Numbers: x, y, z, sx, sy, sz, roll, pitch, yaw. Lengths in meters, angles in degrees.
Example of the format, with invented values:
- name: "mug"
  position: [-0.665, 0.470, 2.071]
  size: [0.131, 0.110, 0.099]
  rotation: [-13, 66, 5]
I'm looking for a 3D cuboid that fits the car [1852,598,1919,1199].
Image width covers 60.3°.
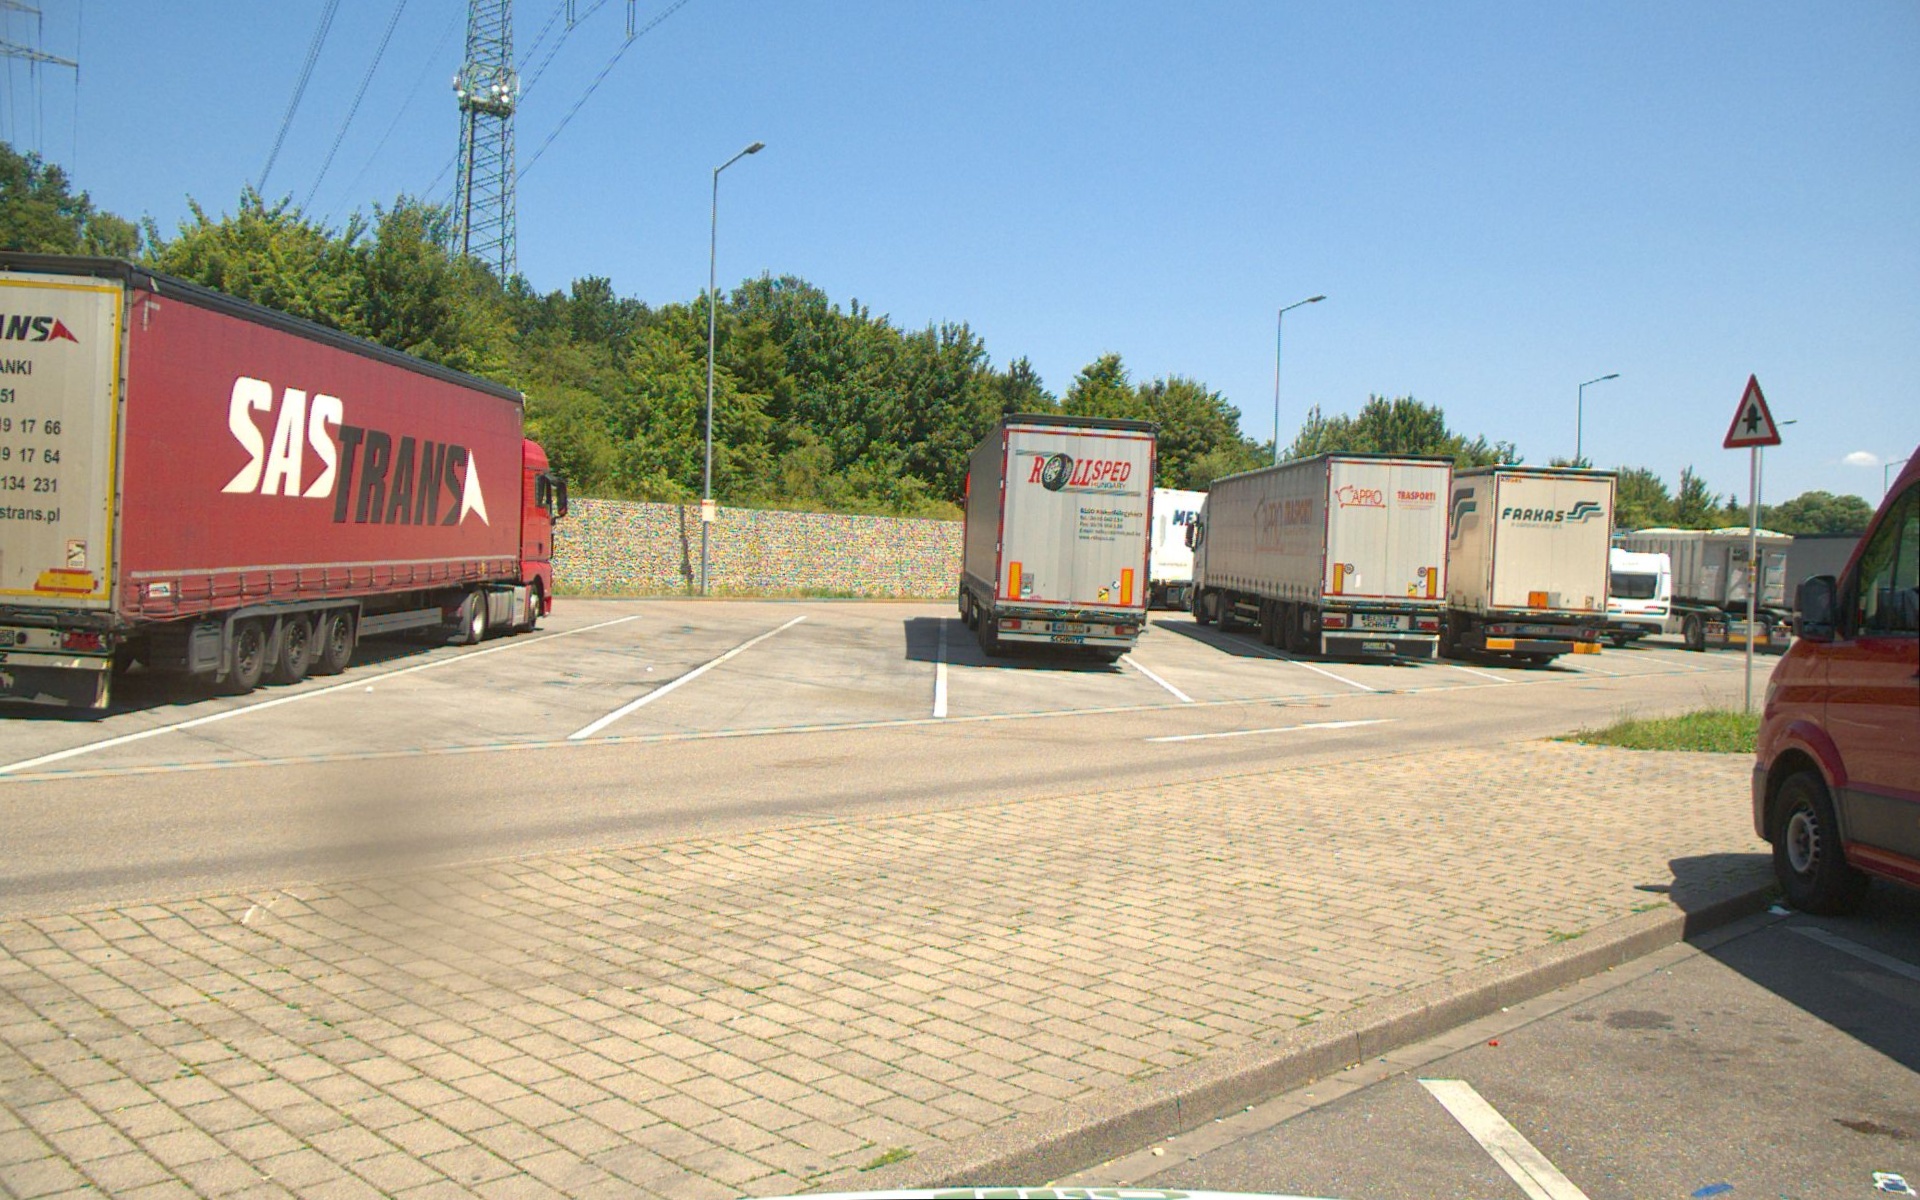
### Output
- name: "car"
  position: [2.526, 0.800, 1.077]
  size: [1.584, 1.509, 3.762]
  rotation: [1, 1, -6]

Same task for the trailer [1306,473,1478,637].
- name: "trailer"
  position: [11.744, -1.283, 45.607]
  size: [2.808, 4.107, 6.570]
  rotation: [2, 2, -1]

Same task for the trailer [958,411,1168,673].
- name: "trailer"
  position: [1.644, -1.234, 33.635]
  size: [2.809, 4.107, 14.238]
  rotation: [2, 2, -2]

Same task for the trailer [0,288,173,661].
- name: "trailer"
  position: [-12.559, -1.405, 17.129]
  size: [2.756, 4.341, 12.940]
  rotation: [2, 2, -1]

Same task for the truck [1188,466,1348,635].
- name: "truck"
  position: [8.158, -1.377, 44.700]
  size: [2.808, 4.107, 6.956]
  rotation: [2, 2, -1]

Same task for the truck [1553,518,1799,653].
- name: "truck"
  position: [21.740, -0.636, 51.206]
  size: [2.437, 3.630, 11.423]
  rotation: [2, 2, -1]

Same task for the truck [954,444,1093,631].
- name: "truck"
  position: [1.415, -1.560, 40.716]
  size: [2.809, 4.107, 7.026]
  rotation: [2, 2, -2]

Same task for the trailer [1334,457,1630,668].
- name: "trailer"
  position: [11.813, -1.014, 39.186]
  size: [2.808, 4.107, 12.438]
  rotation: [2, 2, -1]

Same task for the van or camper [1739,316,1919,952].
- name: "van or camper"
  position: [4.976, 0.179, 5.524]
  size: [1.954, 2.700, 6.482]
  rotation: [1, 1, 3]

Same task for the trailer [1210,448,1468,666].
- name: "trailer"
  position: [8.236, -1.081, 38.069]
  size: [2.808, 4.107, 12.438]
  rotation: [2, 2, -1]

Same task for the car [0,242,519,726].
- name: "car"
  position: [-8.688, -1.279, 20.927]
  size: [2.641, 4.184, 12.935]
  rotation: [2, 2, 0]

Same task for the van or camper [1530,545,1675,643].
- name: "van or camper"
  position: [18.259, -0.210, 47.310]
  size: [2.061, 2.606, 5.372]
  rotation: [1, 1, 0]

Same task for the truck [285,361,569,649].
- name: "truck"
  position: [-8.708, -1.527, 27.845]
  size: [2.641, 4.184, 6.239]
  rotation: [2, 2, 0]

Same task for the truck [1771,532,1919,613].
- name: "truck"
  position: [34.696, -1.050, 63.597]
  size: [2.082, 2.869, 9.777]
  rotation: [1, 1, -1]

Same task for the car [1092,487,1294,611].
- name: "car"
  position: [8.494, -1.758, 59.381]
  size: [2.643, 4.114, 8.412]
  rotation: [5, 3, 43]
